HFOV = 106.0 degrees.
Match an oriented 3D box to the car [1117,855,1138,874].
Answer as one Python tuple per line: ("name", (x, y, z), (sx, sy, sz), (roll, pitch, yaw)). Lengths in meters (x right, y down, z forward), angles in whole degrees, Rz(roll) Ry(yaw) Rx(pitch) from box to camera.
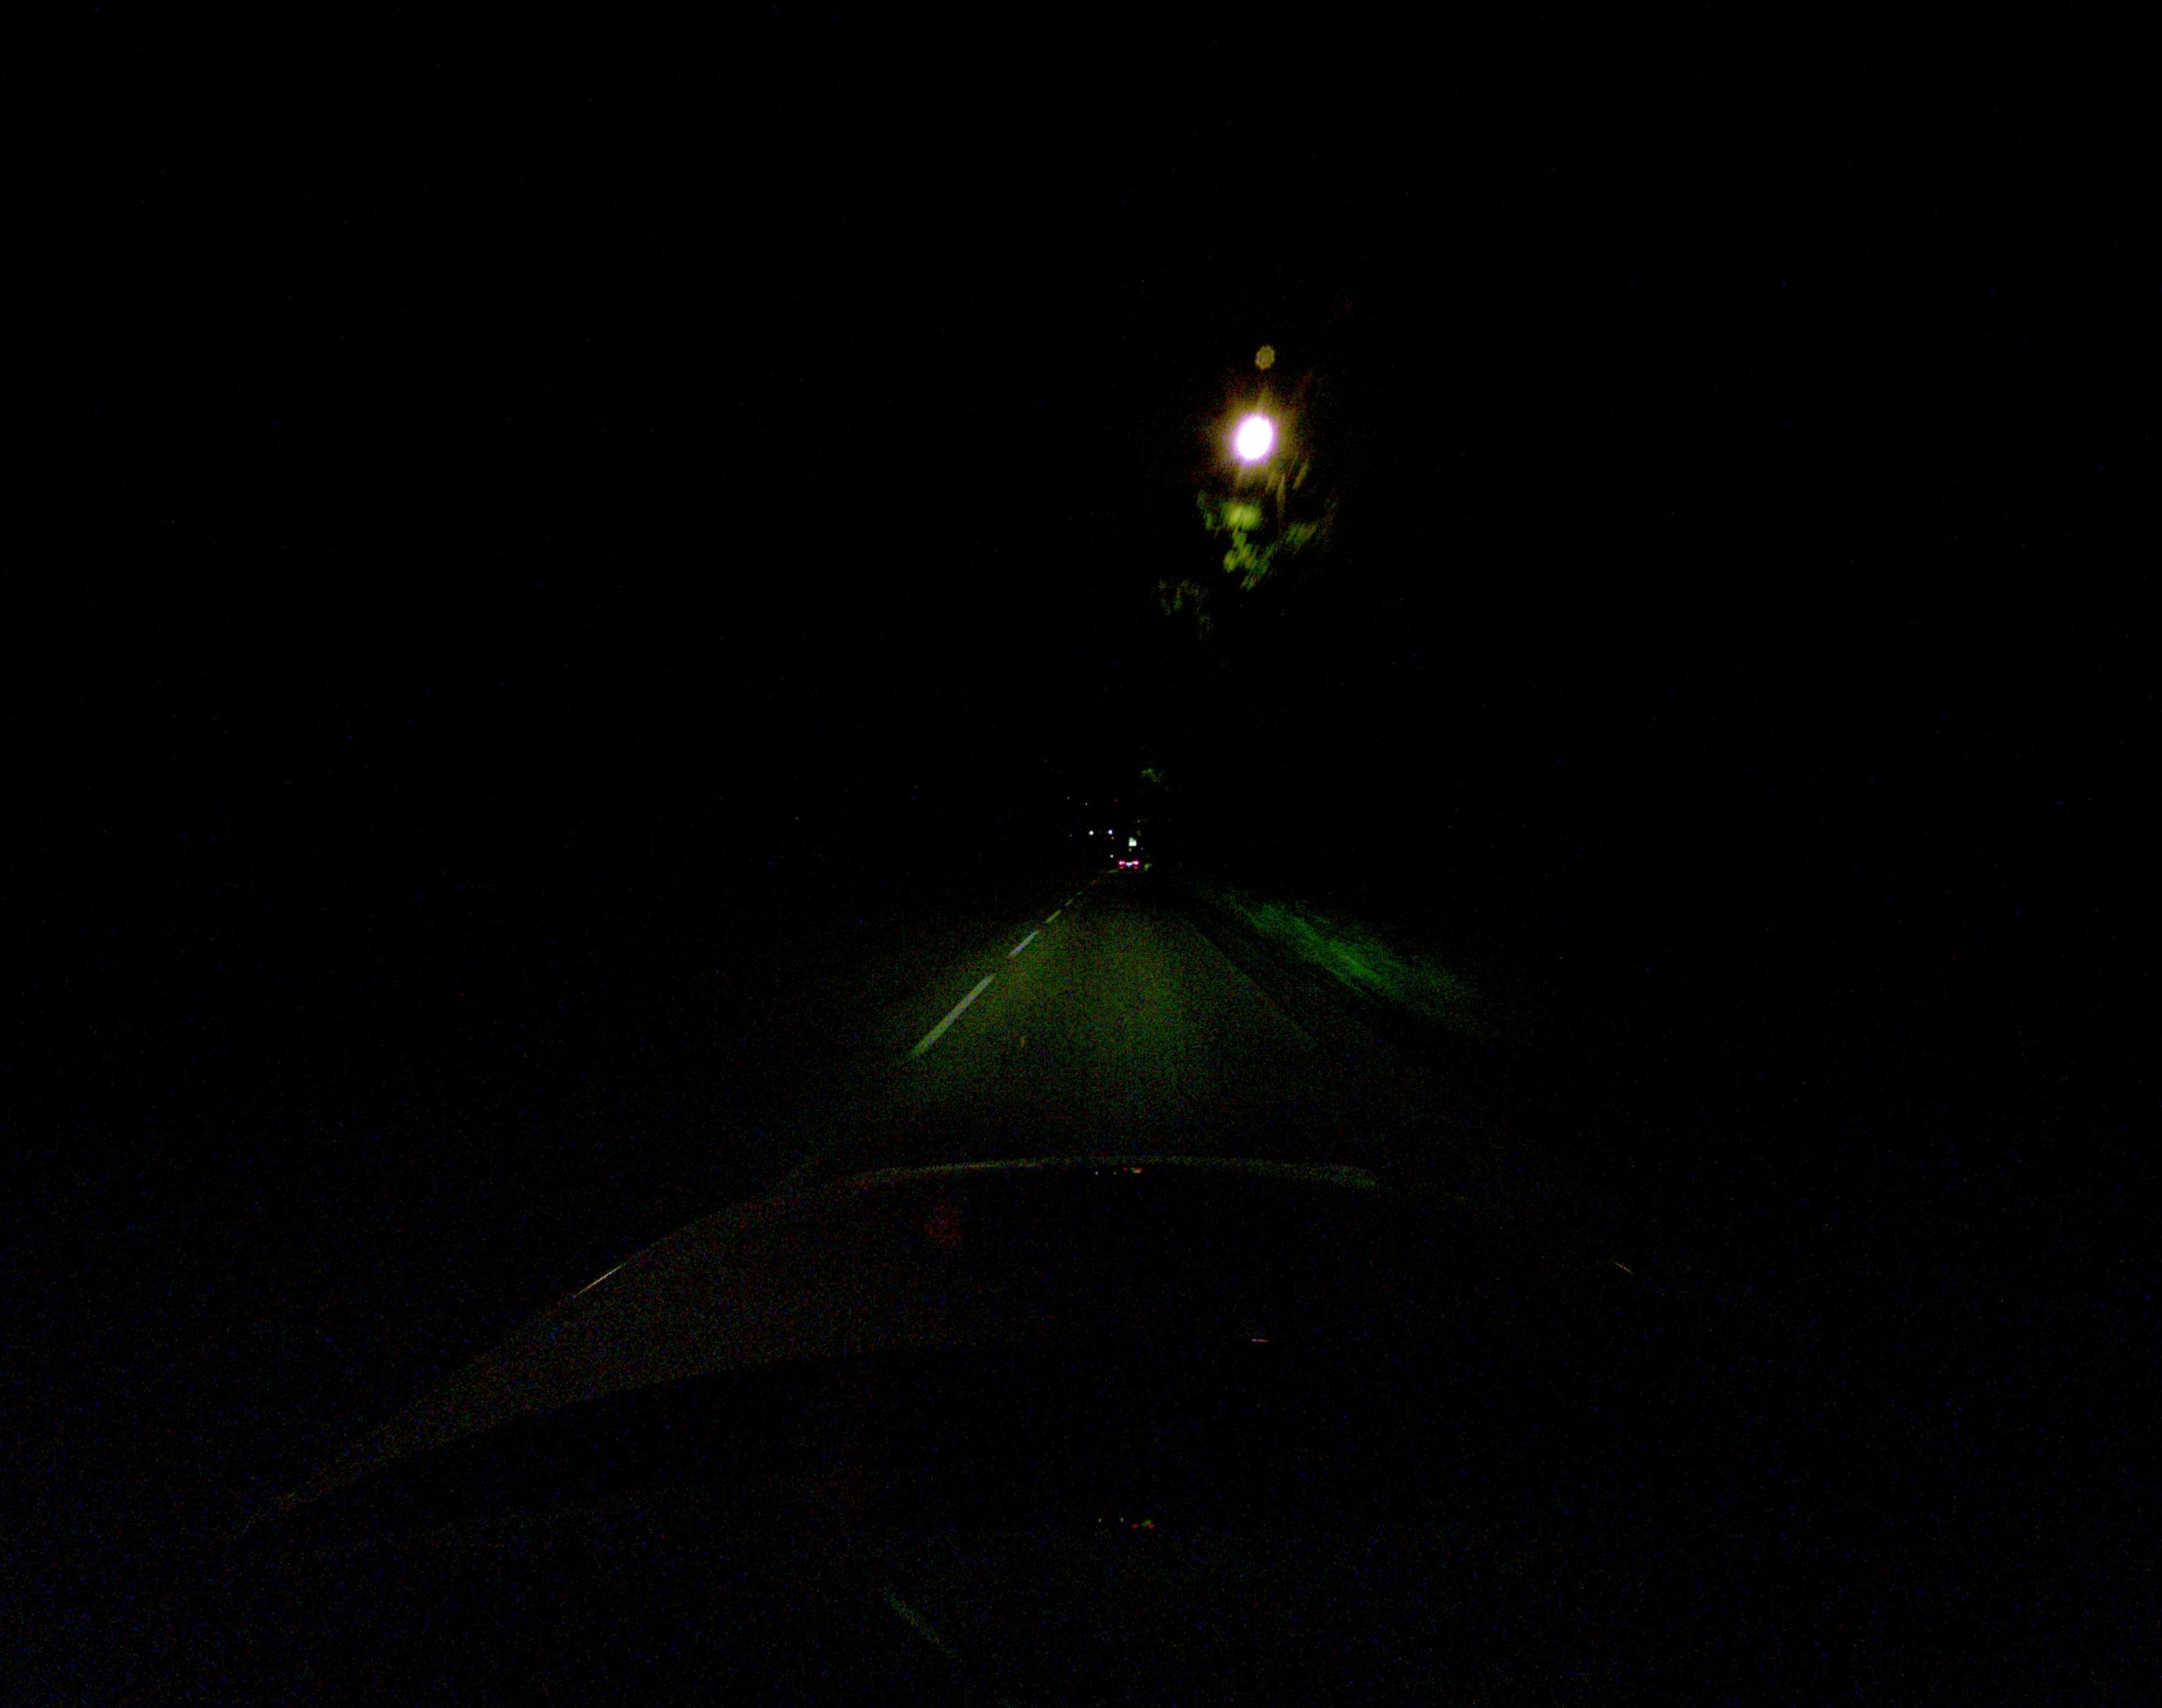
("car", (4.371, 0.959, 76.292), (1.755, 1.642, 3.727), (-1, 0, 5))
